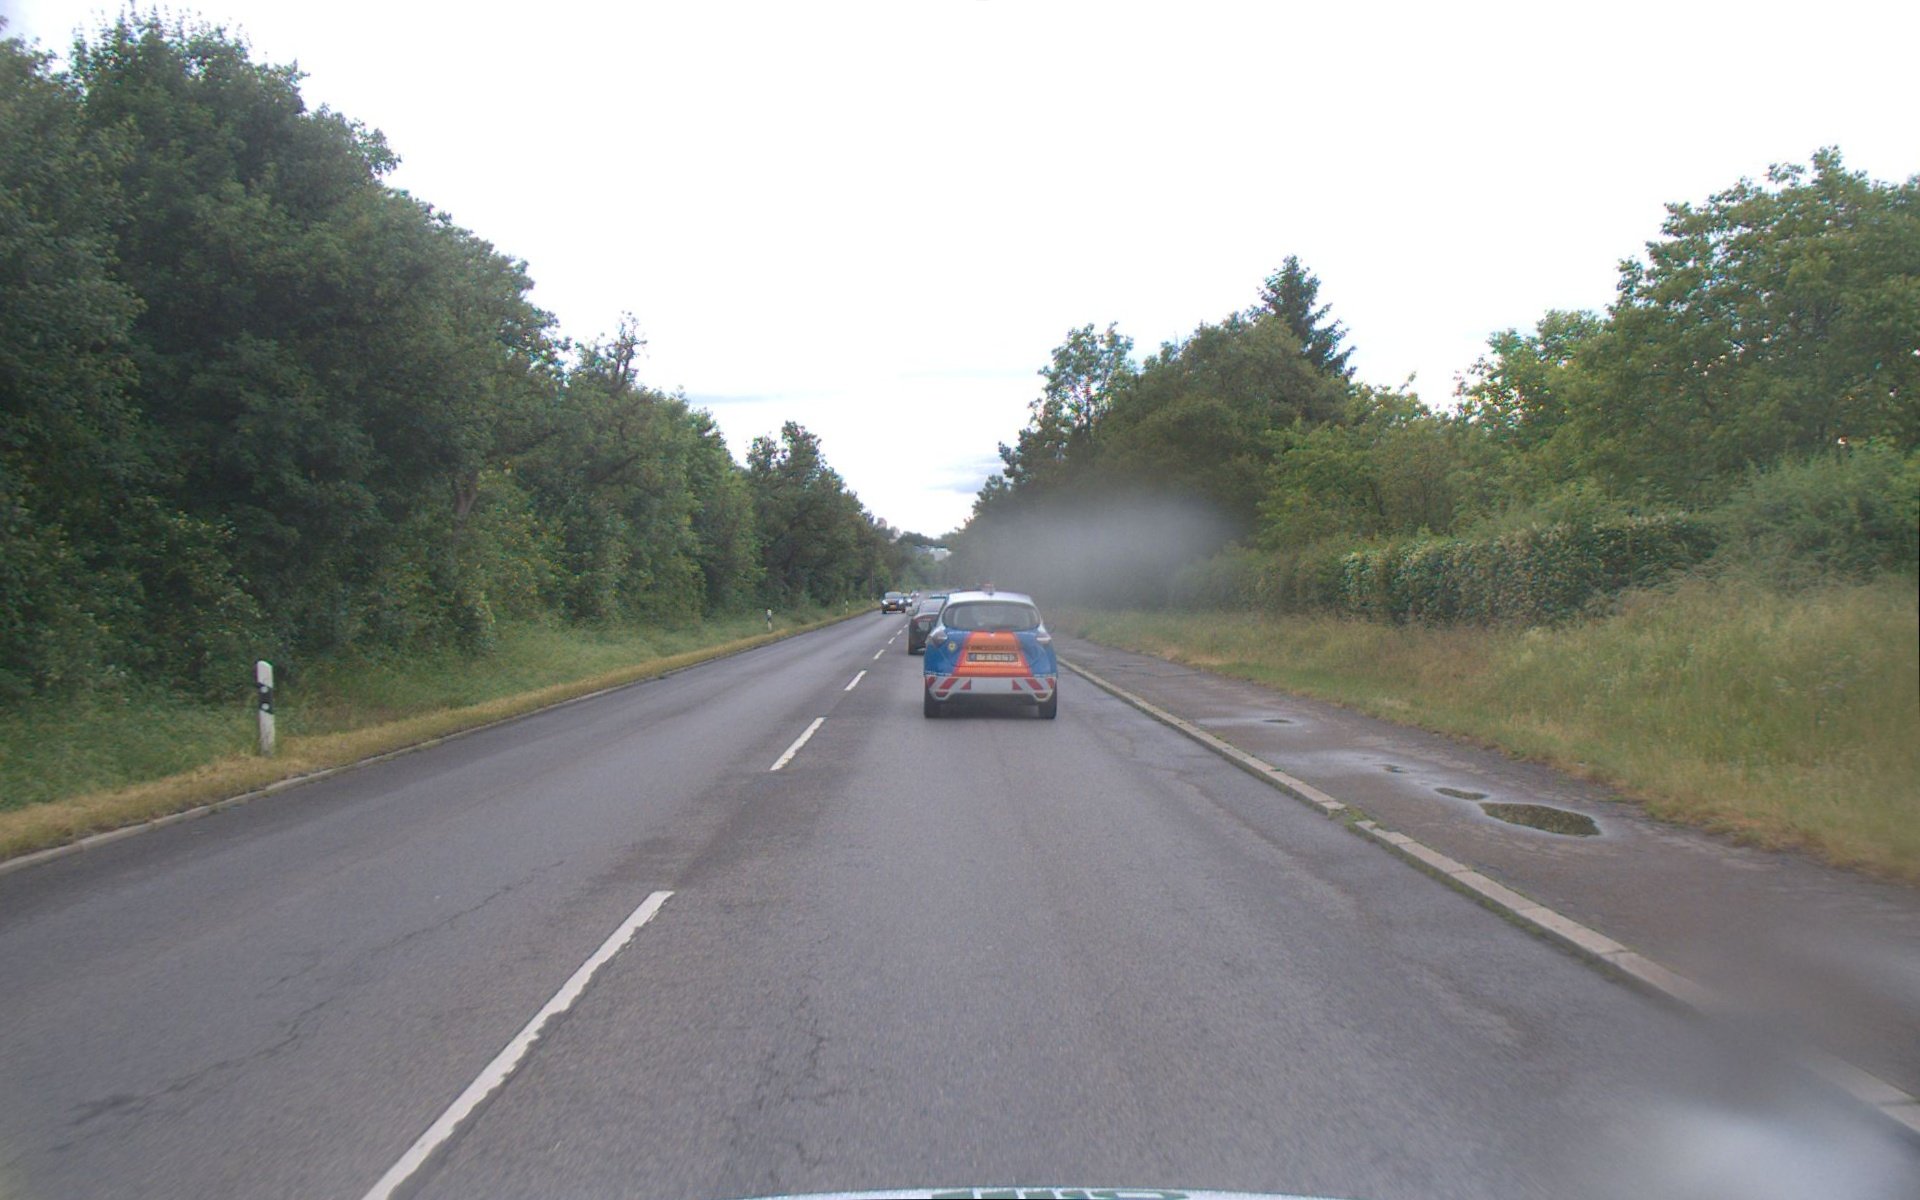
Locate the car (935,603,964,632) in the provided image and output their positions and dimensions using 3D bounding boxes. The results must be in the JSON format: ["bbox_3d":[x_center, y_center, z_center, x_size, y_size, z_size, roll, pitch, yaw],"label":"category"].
[{"bbox_3d":[-0.667,1.112,106.103,1.752,1.750,4.000,-1,0,0],"label":"car"}]

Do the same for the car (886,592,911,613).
[{"bbox_3d":[-4.804,0.179,129.468,1.866,1.584,4.515,-1,0,-1],"label":"car"}]

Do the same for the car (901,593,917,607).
[{"bbox_3d":[-5.708,-0.014,184.517,1.676,1.423,4.149,-3,0,-1],"label":"car"}]

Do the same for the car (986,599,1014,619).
[{"bbox_3d":[2.932,0.683,122.168,1.953,1.400,4.000,-1,0,0],"label":"car"}]

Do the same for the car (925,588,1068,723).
[{"bbox_3d":[0.412,0.656,21.850,1.716,1.582,3.792,0,1,-1],"label":"car"}]

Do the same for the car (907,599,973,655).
[{"bbox_3d":[-0.482,0.644,41.940,1.566,1.309,3.476,-1,0,0],"label":"car"}]
